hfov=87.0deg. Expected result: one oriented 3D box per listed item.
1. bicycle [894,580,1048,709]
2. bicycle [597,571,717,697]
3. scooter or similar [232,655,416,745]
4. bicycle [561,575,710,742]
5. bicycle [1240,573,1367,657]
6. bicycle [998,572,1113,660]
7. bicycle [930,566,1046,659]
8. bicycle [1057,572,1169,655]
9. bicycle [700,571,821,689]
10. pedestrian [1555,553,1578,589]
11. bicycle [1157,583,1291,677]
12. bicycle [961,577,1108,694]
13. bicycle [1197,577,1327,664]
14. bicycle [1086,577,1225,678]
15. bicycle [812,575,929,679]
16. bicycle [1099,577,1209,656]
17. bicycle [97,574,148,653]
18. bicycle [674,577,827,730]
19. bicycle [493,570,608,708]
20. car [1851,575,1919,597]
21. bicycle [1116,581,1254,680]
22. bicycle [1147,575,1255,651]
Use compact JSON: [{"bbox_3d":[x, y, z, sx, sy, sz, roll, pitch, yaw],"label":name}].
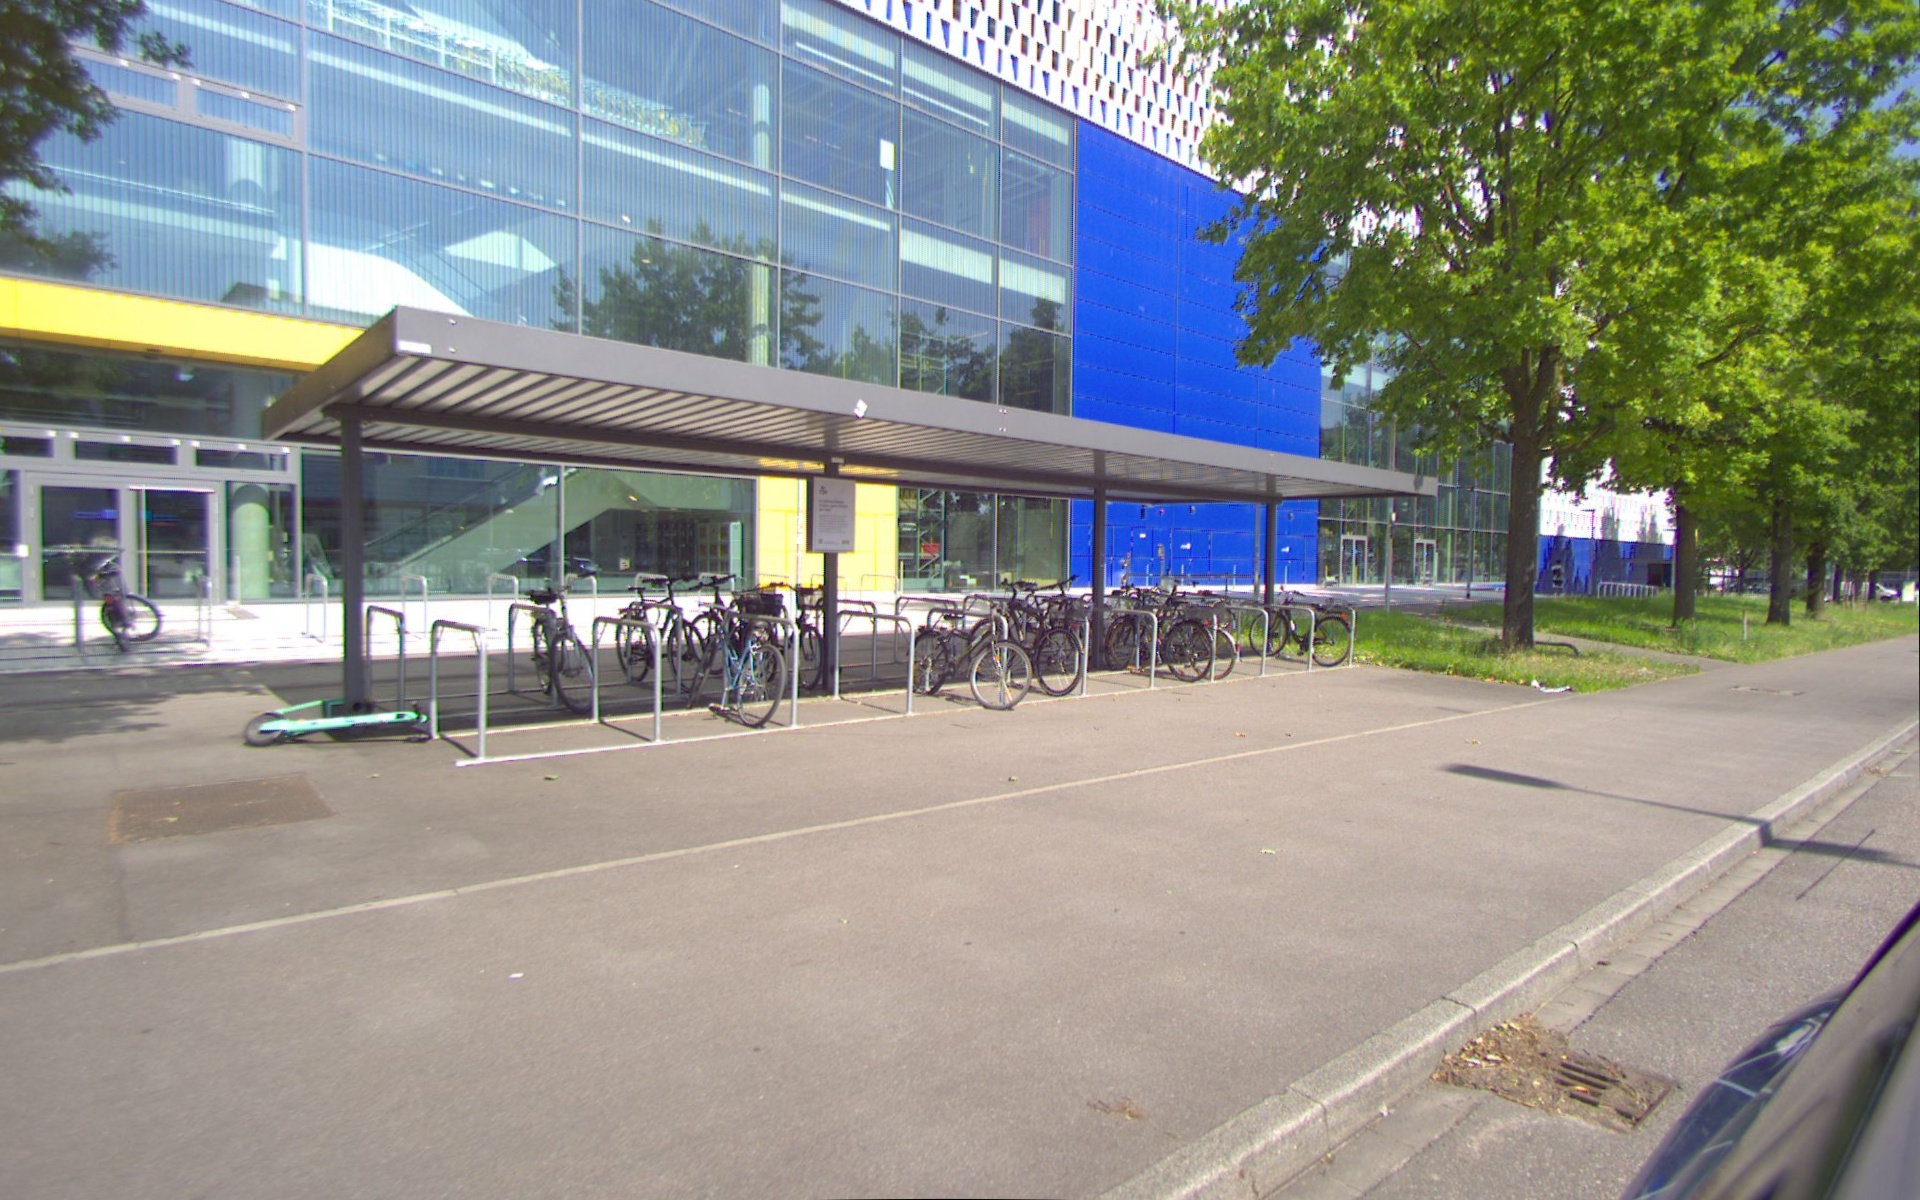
[{"bbox_3d":[0.065,0.390,9.929,0.444,1.109,1.762,0,2,-40],"label":"bicycle"},{"bbox_3d":[-3.056,0.290,10.082,0.444,1.109,1.833,0,2,-40],"label":"bicycle"},{"bbox_3d":[-4.519,0.693,7.278,0.941,0.456,0.922,0,4,-20],"label":"scooter or similar"},{"bbox_3d":[-2.540,0.390,7.804,0.444,1.109,1.762,0,2,-40],"label":"bicycle"},{"bbox_3d":[5.001,0.190,14.826,0.444,1.109,1.762,0,3,-40],"label":"bicycle"},{"bbox_3d":[1.294,0.189,14.069,0.444,1.109,1.762,0,2,-40],"label":"bicycle"},{"bbox_3d":[0.342,0.132,13.322,0.444,1.109,1.762,0,2,-40],"label":"bicycle"},{"bbox_3d":[2.224,0.172,14.914,0.444,1.109,1.762,0,2,-40],"label":"bicycle"},{"bbox_3d":[-2.145,0.277,10.717,0.444,1.109,1.762,0,2,-40],"label":"bicycle"},{"bbox_3d":[28.091,-1.356,46.862,0.759,1.632,0.689,0,3,-44],"label":"pedestrian"},{"bbox_3d":[3.450,0.356,13.364,0.444,1.109,1.762,0,2,-40],"label":"bicycle"},{"bbox_3d":[0.756,0.339,10.829,0.444,1.109,1.762,0,2,-40],"label":"bicycle"},{"bbox_3d":[4.215,0.257,14.238,0.455,1.109,1.762,0,2,-40],"label":"bicycle"},{"bbox_3d":[2.360,0.304,12.430,0.444,1.109,1.762,0,2,-40],"label":"bicycle"},{"bbox_3d":[-1.098,0.281,12.049,0.444,1.109,1.762,0,2,-40],"label":"bicycle"},{"bbox_3d":[2.986,0.223,15.713,0.444,1.109,1.762,0,2,-40],"label":"bicycle"},{"bbox_3d":[-9.964,0.132,12.061,0.426,0.853,1.566,0,2,-38],"label":"bicycle"},{"bbox_3d":[-1.787,0.387,8.435,0.444,1.109,1.762,0,2,-40],"label":"bicycle"},{"bbox_3d":[-3.785,0.307,9.279,0.444,1.109,1.762,0,2,-40],"label":"bicycle"},{"bbox_3d":[94.187,-1.431,103.051,1.711,2.031,4.993,-2,4,-41],"label":"car"},{"bbox_3d":[2.790,0.343,12.730,0.444,1.109,1.762,0,2,-40],"label":"bicycle"},{"bbox_3d":[3.853,0.180,16.306,0.444,1.109,1.762,0,2,-40],"label":"bicycle"}]
